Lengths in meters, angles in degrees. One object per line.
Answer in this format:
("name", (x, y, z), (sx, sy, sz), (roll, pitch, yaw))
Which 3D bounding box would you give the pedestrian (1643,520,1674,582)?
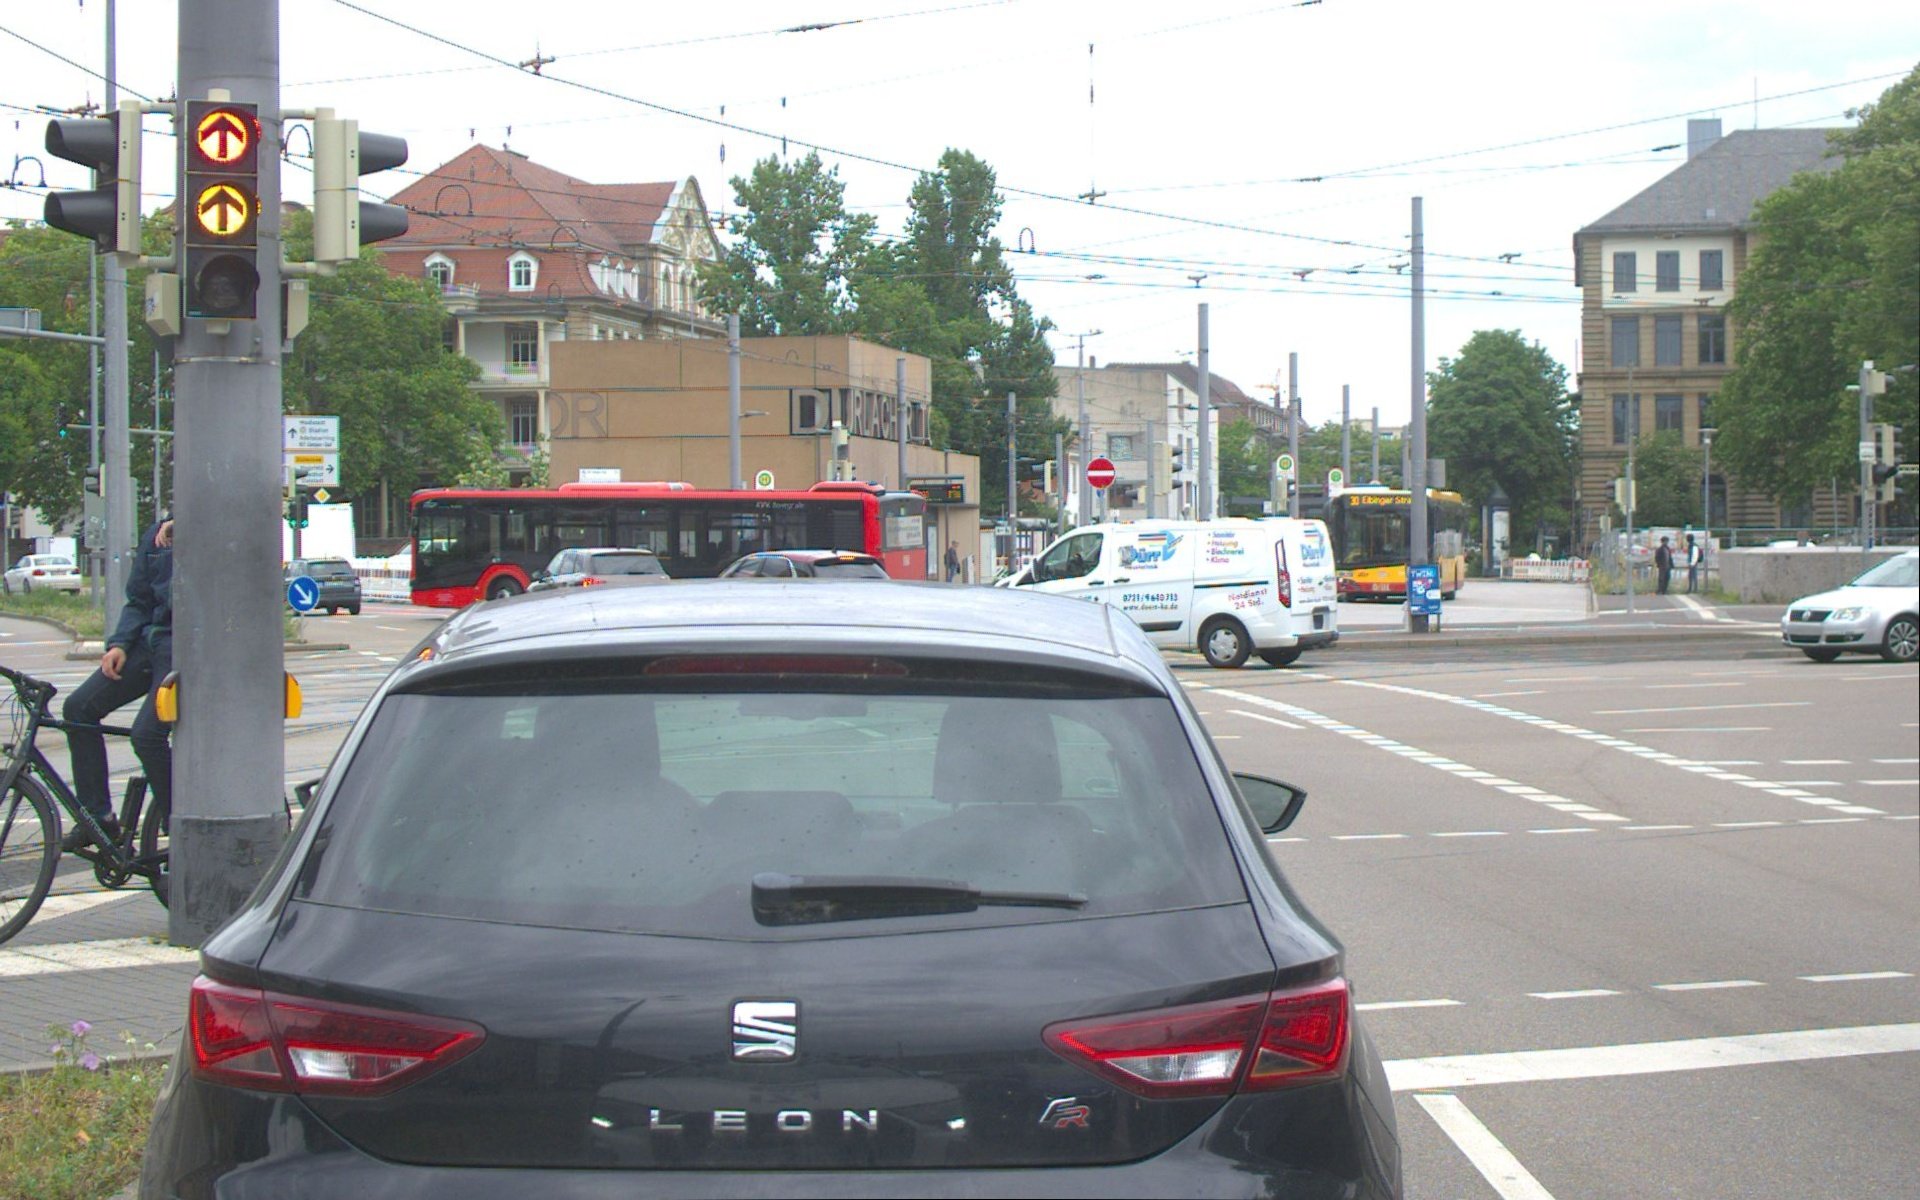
("pedestrian", (20.669, -1.453, 101.753), (0.824, 1.847, 1.020), (0, 1, 16))

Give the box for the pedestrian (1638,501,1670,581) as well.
("pedestrian", (36.824, -3.116, 182.449), (1.387, 4.239, 1.347), (0, 1, 0))

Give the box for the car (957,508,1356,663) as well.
("car", (2.654, -0.215, 46.650), (5.022, 2.012, 1.997), (0, 1, 27))

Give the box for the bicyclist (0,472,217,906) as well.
("bicyclist", (-3.313, 0.328, 13.337), (0.653, 1.633, 0.517), (-1, 1, -40))

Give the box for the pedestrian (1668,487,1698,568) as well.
("pedestrian", (38.372, -3.853, 182.414), (1.307, 4.239, 1.347), (0, 1, 0))

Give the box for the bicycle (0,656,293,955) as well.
("bicycle", (-3.427, 0.777, 13.253), (1.609, 1.066, 0.528), (-1, 1, -40))

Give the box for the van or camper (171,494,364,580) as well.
("van or camper", (-27.799, -2.544, 138.292), (7.134, 3.321, 2.875), (-2, 0, -45))

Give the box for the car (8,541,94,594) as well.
("car", (-30.897, -1.119, 116.801), (1.993, 1.744, 4.001), (-1, 1, -28))

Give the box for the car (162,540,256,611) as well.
("car", (-21.800, -0.742, 99.715), (1.993, 2.007, 4.001), (-1, 1, -22))

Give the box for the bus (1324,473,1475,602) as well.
("bus", (12.188, -1.707, 94.201), (3.018, 3.256, 13.036), (0, 1, 12))

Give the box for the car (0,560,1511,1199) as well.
("car", (-0.266, 0.678, 5.959), (1.746, 1.459, 4.000), (0, 1, -1))

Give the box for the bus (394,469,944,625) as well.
("bus", (-6.581, -1.149, 76.582), (12.355, 3.286, 3.064), (0, 1, 26))

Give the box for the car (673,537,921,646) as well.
("car", (-2.553, -0.159, 53.045), (1.858, 1.595, 4.204), (-1, 1, -35))

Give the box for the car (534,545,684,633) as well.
("car", (-6.579, -0.243, 63.999), (1.993, 1.560, 4.206), (-1, 1, -17))

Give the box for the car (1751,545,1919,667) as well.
("car", (12.835, 0.021, 45.195), (4.612, 1.477, 1.726), (-2, 2, -24))

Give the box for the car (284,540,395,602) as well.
("car", (-15.837, -0.754, 87.616), (1.993, 1.534, 4.001), (-1, 1, -22))
